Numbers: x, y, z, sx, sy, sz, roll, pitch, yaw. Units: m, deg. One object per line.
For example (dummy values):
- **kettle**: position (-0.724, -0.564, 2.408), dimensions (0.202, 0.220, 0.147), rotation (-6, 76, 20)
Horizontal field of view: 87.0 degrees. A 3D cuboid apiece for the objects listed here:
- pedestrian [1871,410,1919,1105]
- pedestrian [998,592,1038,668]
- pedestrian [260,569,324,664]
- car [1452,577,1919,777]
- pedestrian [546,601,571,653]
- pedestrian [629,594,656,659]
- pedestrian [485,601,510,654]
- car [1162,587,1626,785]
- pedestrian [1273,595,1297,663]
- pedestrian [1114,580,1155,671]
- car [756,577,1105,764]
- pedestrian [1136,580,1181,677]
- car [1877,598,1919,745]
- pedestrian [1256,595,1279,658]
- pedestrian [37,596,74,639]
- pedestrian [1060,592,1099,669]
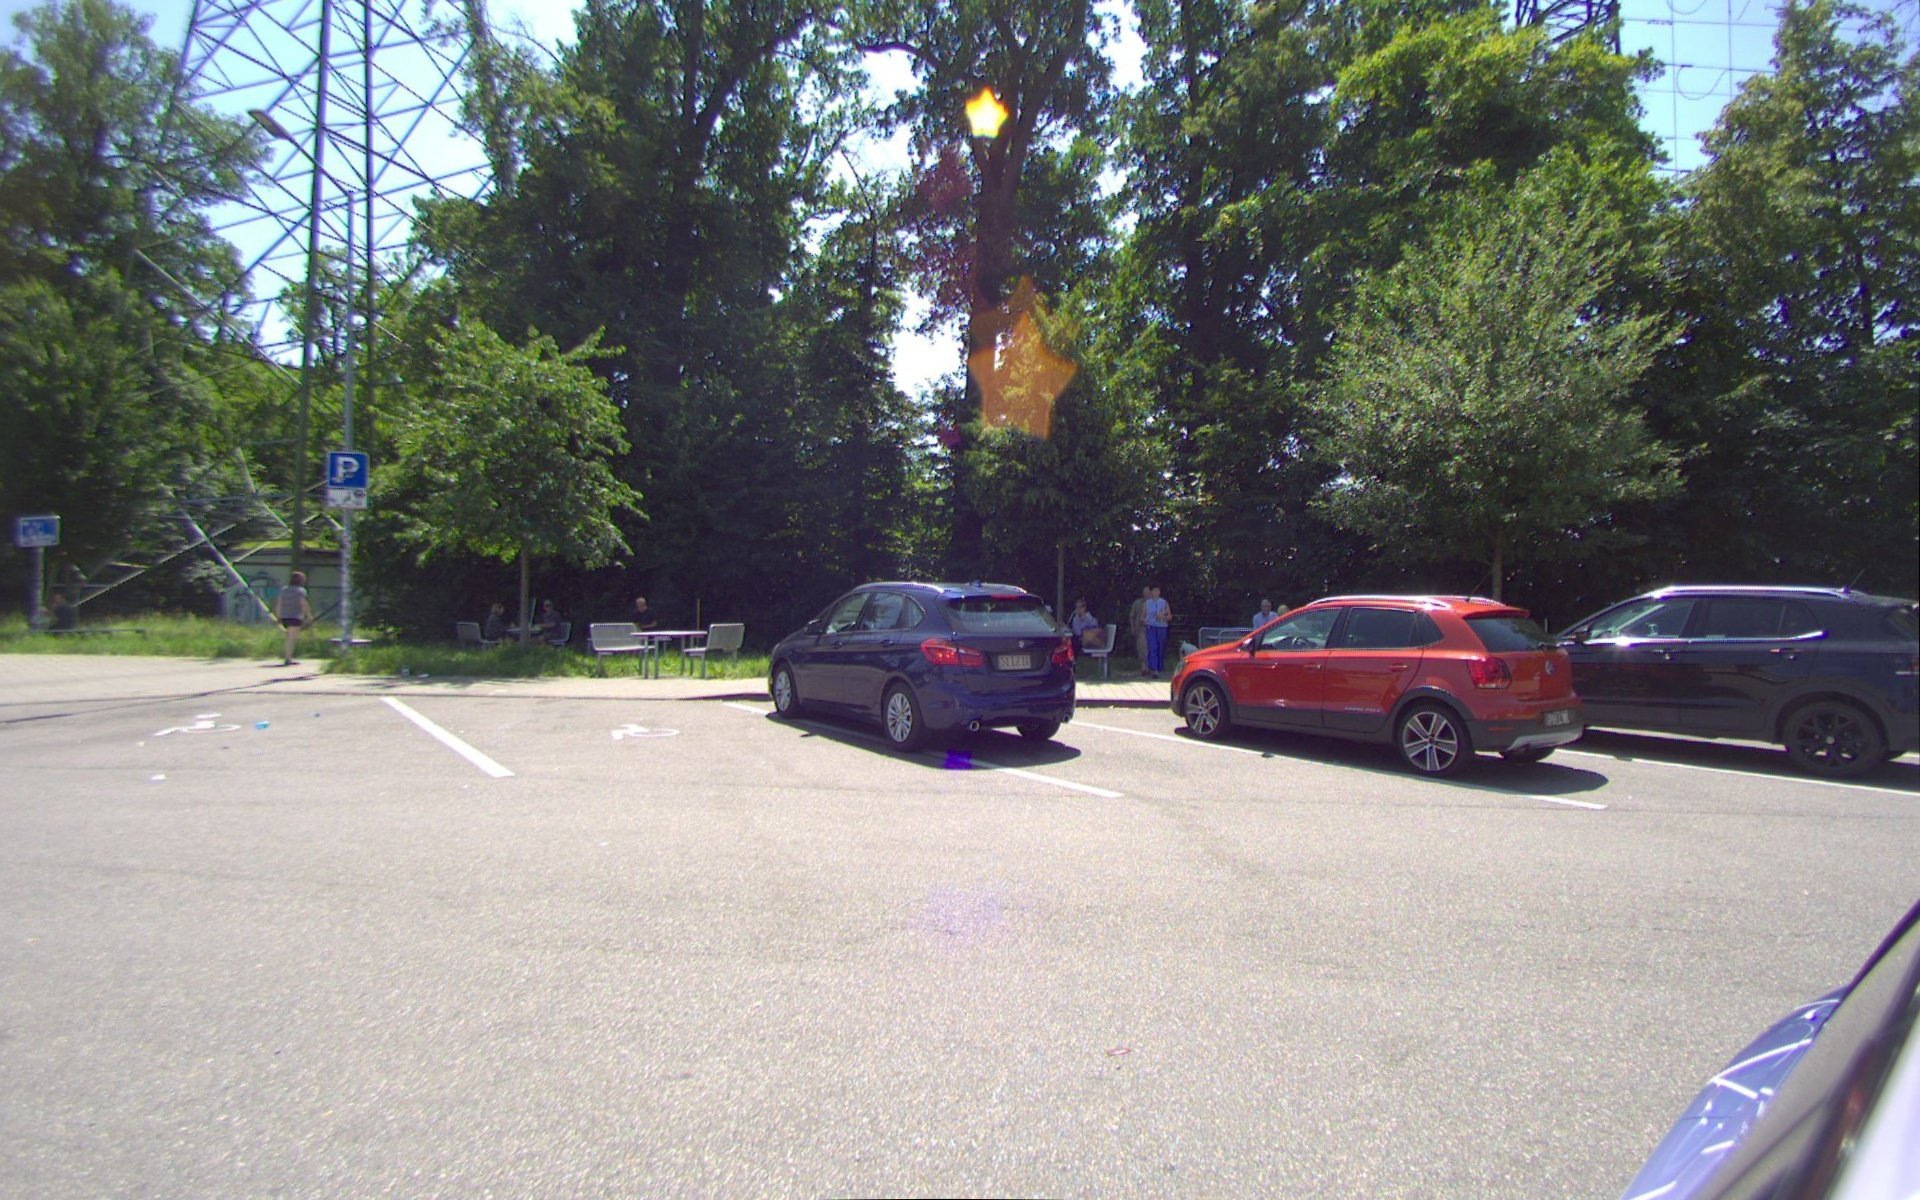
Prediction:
- **pedestrian**: position (3.092, 0.450, 2.532), dimensions (0.800, 1.974, 0.919), rotation (0, 0, 6)
- **pedestrian**: position (0.981, 0.498, 17.112), dimensions (0.586, 1.261, 0.445), rotation (0, 0, 16)
- **pedestrian**: position (-12.137, 0.287, 18.389), dimensions (0.679, 1.670, 0.710), rotation (0, 0, 22)
- **car**: position (7.088, 0.591, 9.864), dimensions (1.620, 1.575, 3.826), rotation (0, 0, -37)
- **pedestrian**: position (-9.354, 0.620, 23.598), dimensions (0.452, 1.209, 0.447), rotation (0, 0, -34)
- **pedestrian**: position (-6.695, 0.550, 21.345), dimensions (0.438, 1.363, 0.462), rotation (0, 0, -5)
- **pedestrian**: position (-10.443, 0.619, 22.857), dimensions (0.452, 1.182, 0.447), rotation (0, 0, -34)
- **car**: position (3.872, 0.634, 9.648), dimensions (1.619, 1.487, 3.830), rotation (0, 0, -33)
- **pedestrian**: position (5.762, 0.506, 17.949), dimensions (0.350, 1.180, 0.384), rotation (0, 0, 8)
- **pedestrian**: position (3.191, 0.458, 18.535), dimensions (0.635, 1.625, 0.572), rotation (0, 0, -1)
- **car**: position (-0.549, 0.551, 10.787), dimensions (1.714, 1.572, 4.347), rotation (0, 1, -33)
- **pedestrian**: position (3.371, 0.469, 17.218), dimensions (0.635, 1.625, 0.572), rotation (0, 0, -1)
- **car**: position (10.888, 0.701, 9.010), dimensions (1.620, 1.420, 3.826), rotation (0, 0, -37)
- **pedestrian**: position (5.810, 0.494, 19.125), dimensions (0.350, 1.180, 0.384), rotation (0, 0, 8)
- **pedestrian**: position (-20.961, 0.404, 23.456), dimensions (0.452, 0.987, 0.447), rotation (0, 0, -2)
- **pedestrian**: position (1.994, 0.496, 16.856), dimensions (0.586, 1.261, 0.498), rotation (0, 0, 16)
